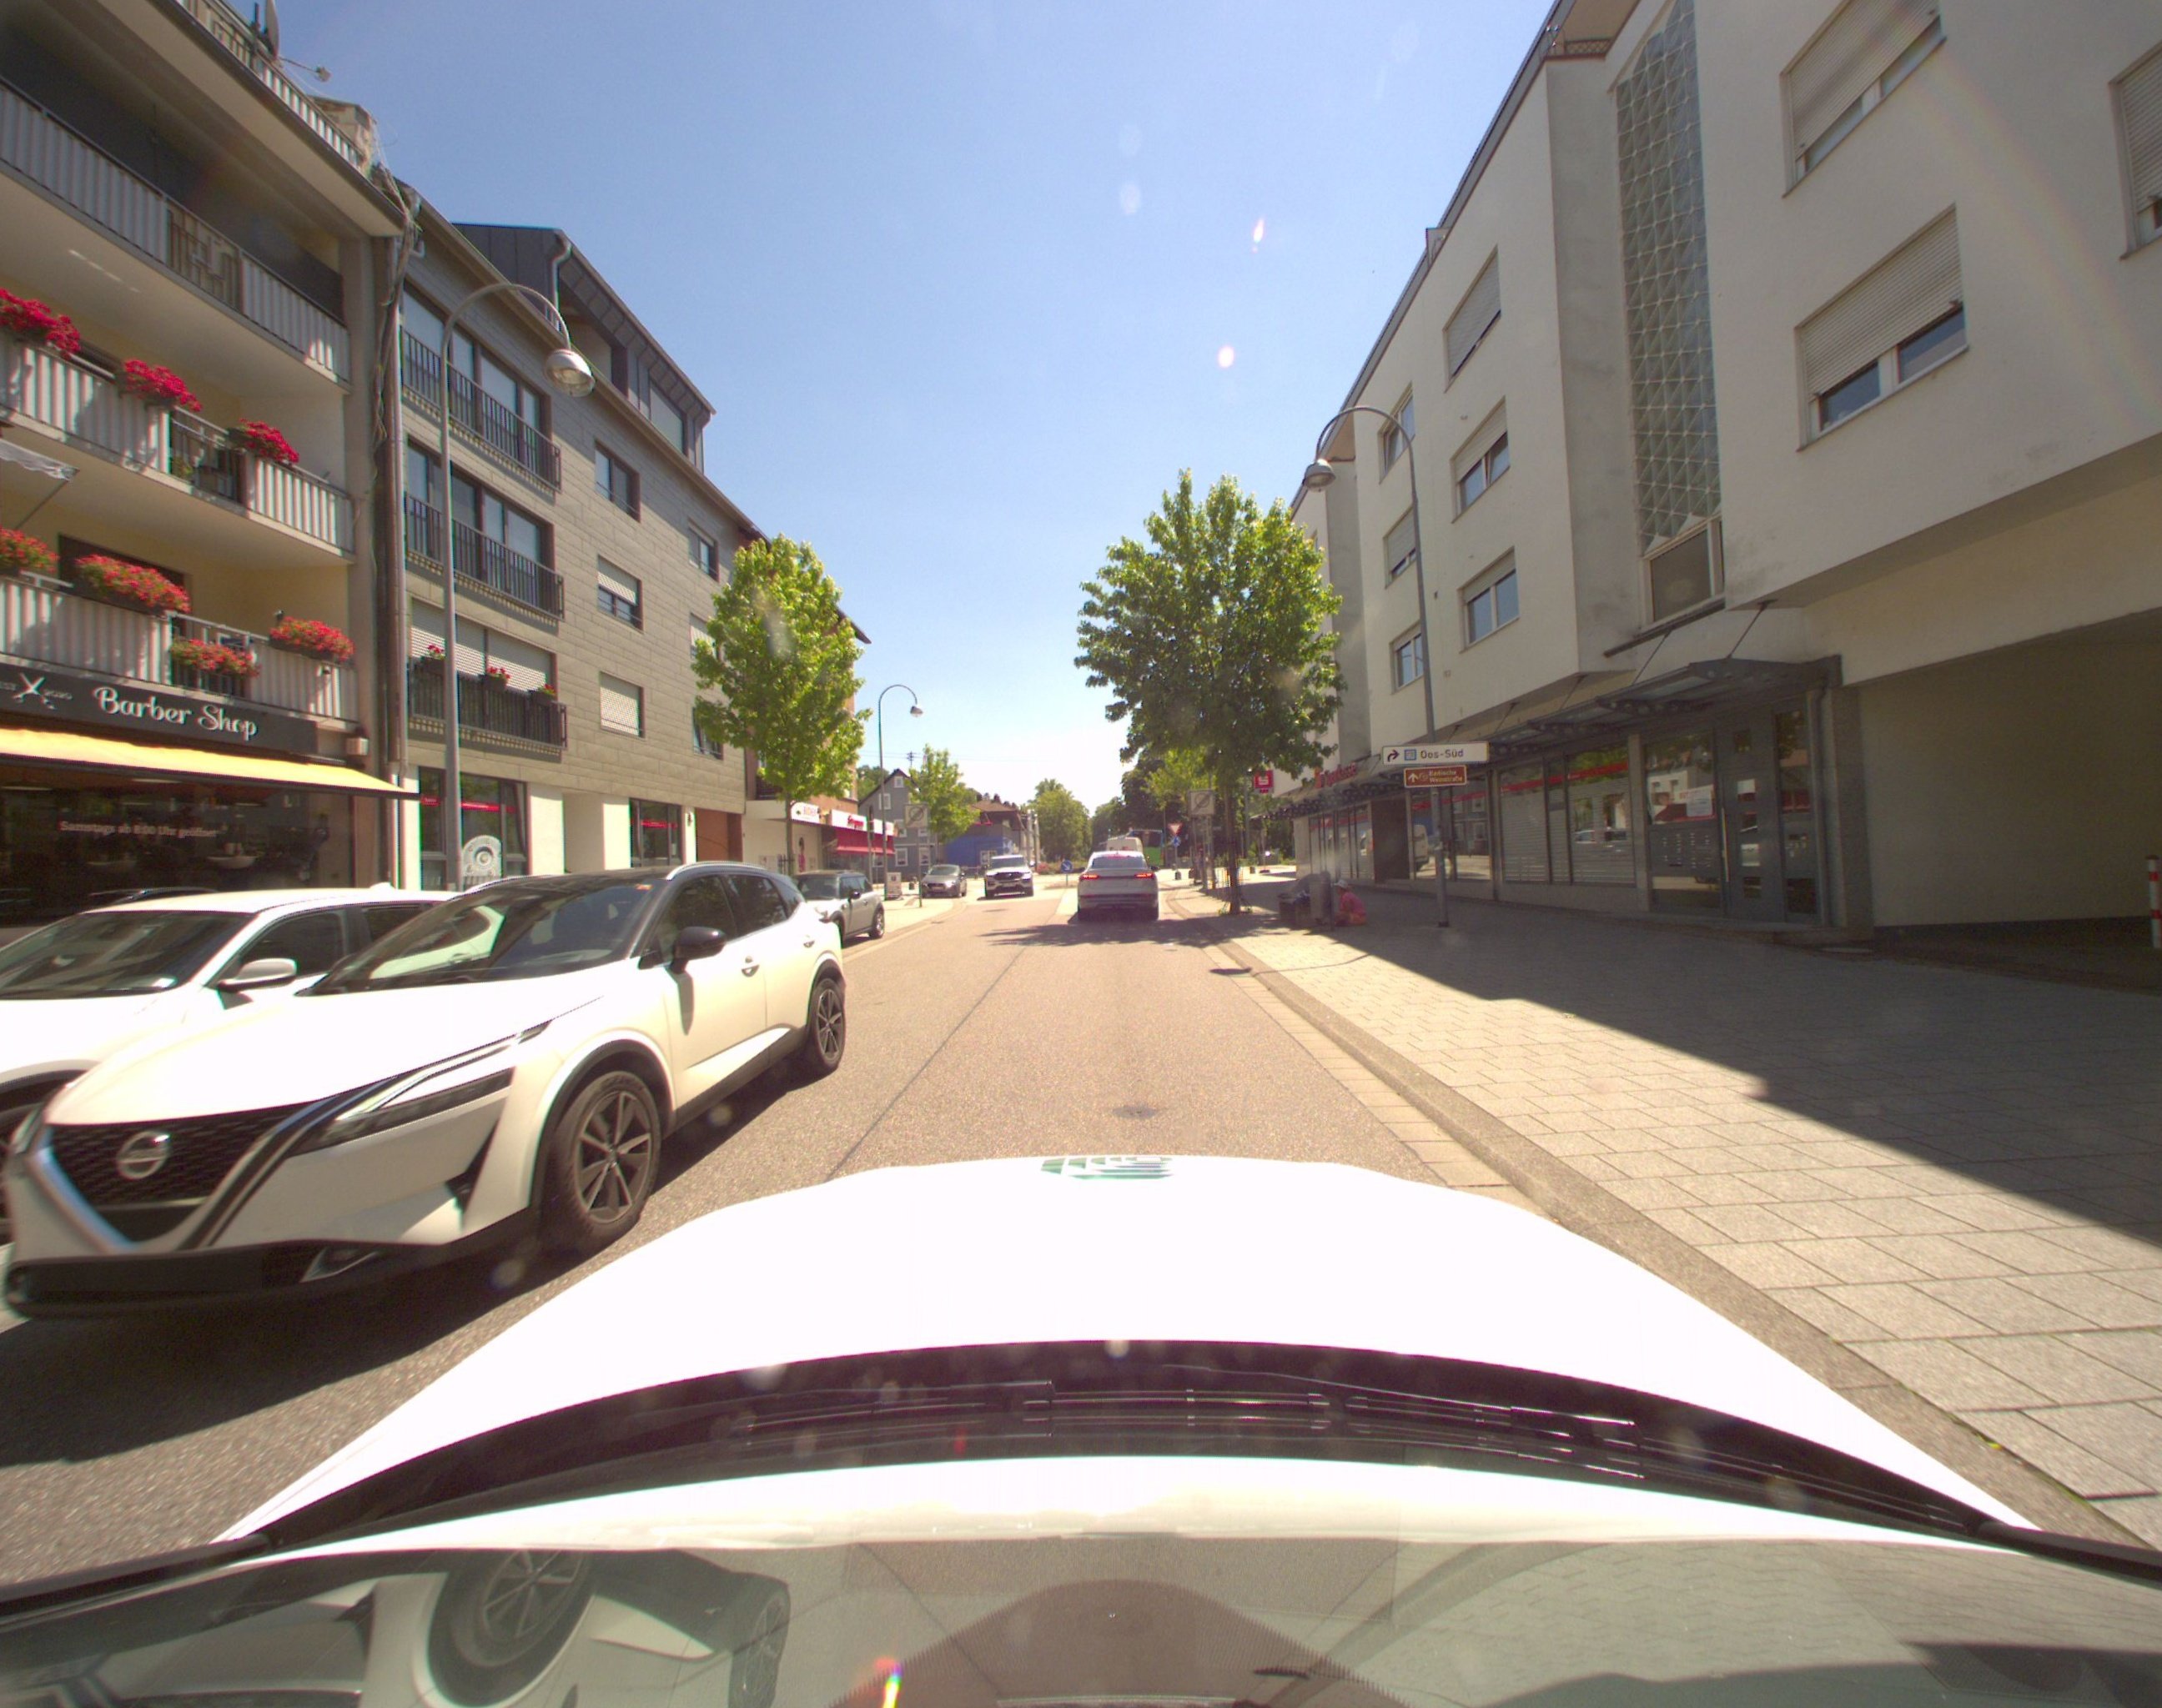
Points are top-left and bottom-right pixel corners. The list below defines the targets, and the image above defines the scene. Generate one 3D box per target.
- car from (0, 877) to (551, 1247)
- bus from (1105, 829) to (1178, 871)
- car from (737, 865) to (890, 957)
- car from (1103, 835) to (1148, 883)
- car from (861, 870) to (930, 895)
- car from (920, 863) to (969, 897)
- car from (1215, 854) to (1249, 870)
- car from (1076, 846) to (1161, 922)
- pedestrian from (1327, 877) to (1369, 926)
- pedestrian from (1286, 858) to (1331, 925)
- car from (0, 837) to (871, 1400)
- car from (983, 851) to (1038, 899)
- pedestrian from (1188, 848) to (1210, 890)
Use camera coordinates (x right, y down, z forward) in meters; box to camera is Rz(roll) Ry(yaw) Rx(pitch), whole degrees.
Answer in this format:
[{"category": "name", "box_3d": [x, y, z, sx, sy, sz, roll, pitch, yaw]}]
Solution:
[{"category": "car", "box_3d": [-5.683, 0.998, 5.181, 1.688, 1.592, 4.301, -1, 0, 2]}, {"category": "bus", "box_3d": [4.854, -0.188, 70.639, 3.699, 3.171, 18.041, 0, -1, -4]}, {"category": "car", "box_3d": [-4.979, 1.003, 15.654, 1.615, 1.473, 3.550, -2, -1, 2]}, {"category": "car", "box_3d": [2.607, 0.277, 46.530, 1.982, 2.481, 5.496, -2, -1, 8]}, {"category": "car", "box_3d": [-13.216, 2.027, 58.212, 4.413, 1.457, 1.767, -3, 0, -3]}, {"category": "car", "box_3d": [-6.213, 1.151, 37.324, 1.662, 1.486, 4.058, 0, 0, -2]}, {"category": "car", "box_3d": [15.481, 0.821, 83.572, 3.052, 1.552, 1.627, -3, 0, -12]}, {"category": "car", "box_3d": [0.931, 0.681, 20.470, 1.891, 1.662, 4.412, -1, 0, 2]}, {"category": "pedestrian", "box_3d": [4.926, 0.872, 15.069, 0.672, 0.852, 0.540, -4, -1, 16]}, {"category": "pedestrian", "box_3d": [4.399, 0.714, 15.721, 0.754, 1.240, 0.540, -3, -1, 16]}, {"category": "car", "box_3d": [-2.796, 0.859, 4.706, 1.765, 1.632, 4.301, -5, -1, 2]}, {"category": "car", "box_3d": [-2.909, 0.854, 34.681, 1.895, 1.754, 4.754, -4, 0, -1]}, {"category": "pedestrian", "box_3d": [4.689, 0.593, 32.369, 0.729, 1.610, 0.560, -3, -1, 3]}]
